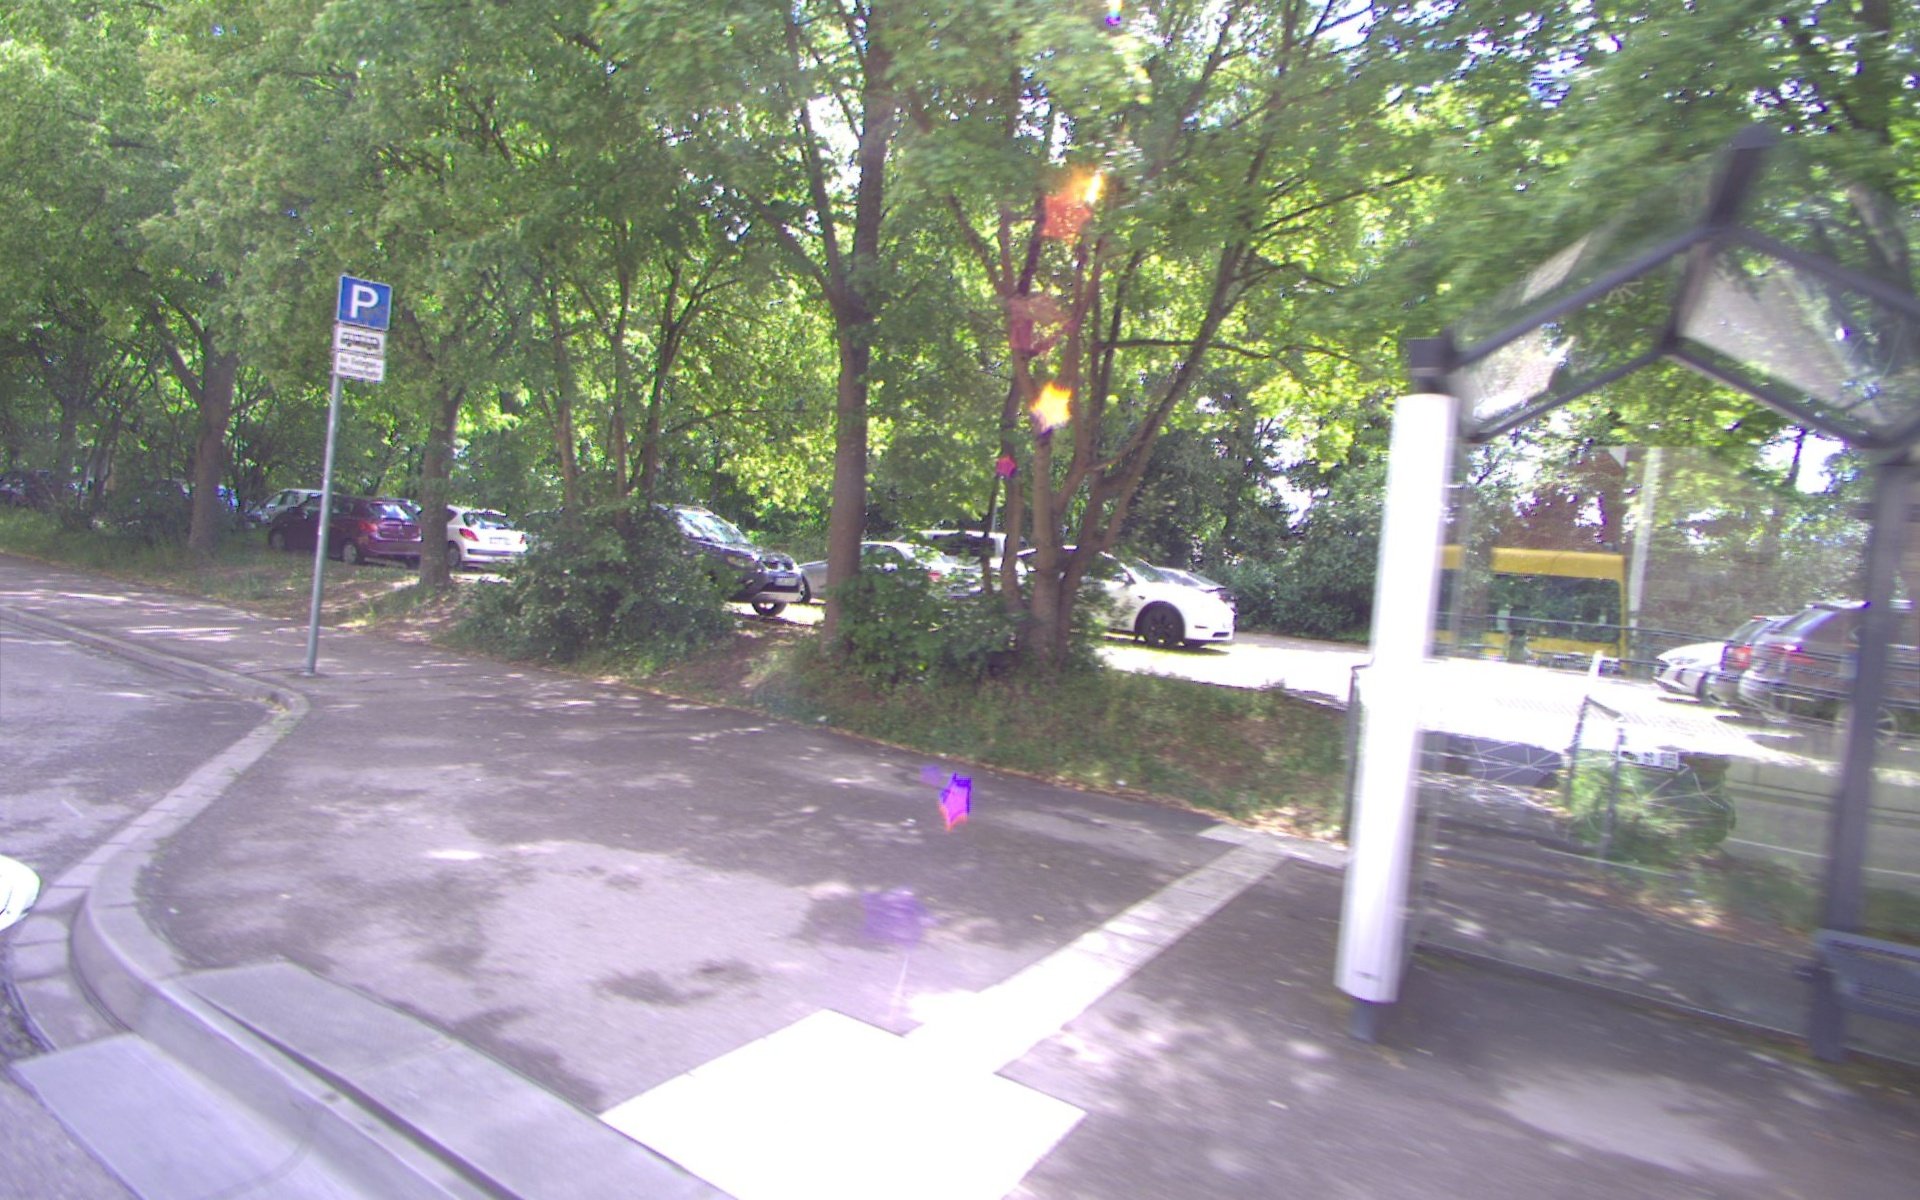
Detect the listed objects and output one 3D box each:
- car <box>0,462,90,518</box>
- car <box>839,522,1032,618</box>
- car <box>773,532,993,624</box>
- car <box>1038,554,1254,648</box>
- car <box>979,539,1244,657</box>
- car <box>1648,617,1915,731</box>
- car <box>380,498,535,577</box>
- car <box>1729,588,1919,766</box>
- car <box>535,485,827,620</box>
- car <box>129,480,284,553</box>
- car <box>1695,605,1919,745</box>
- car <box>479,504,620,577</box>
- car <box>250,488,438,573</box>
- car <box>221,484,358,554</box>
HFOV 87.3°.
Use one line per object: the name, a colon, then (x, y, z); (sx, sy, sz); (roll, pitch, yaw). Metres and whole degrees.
car: (-29.563, -3.533, 32.020); (4.092, 1.528, 1.714); (6, 3, 33)
car: (-0.604, -0.703, 23.194); (4.138, 1.815, 1.612); (7, 4, 32)
car: (-1.625, -0.472, 20.570); (4.280, 1.462, 1.613); (7, 3, 32)
car: (3.792, 0.003, 20.740); (3.936, 1.472, 1.682); (7, 1, 34)
car: (2.615, -0.096, 17.960); (4.360, 1.577, 1.468); (8, 4, 34)
car: (12.133, 1.038, 15.083); (2.812, 1.321, 1.407); (5, 3, 30)
car: (-12.006, -1.496, 23.979); (3.562, 1.529, 1.691); (7, 3, 33)
car: (10.867, 0.880, 10.511); (4.191, 1.717, 1.687); (5, 3, 31)
car: (-4.666, -0.815, 16.568); (4.646, 1.682, 1.849); (7, 0, 32)
car: (-19.320, -2.154, 25.750); (3.923, 1.483, 1.798); (6, 2, 31)
car: (11.732, 0.958, 12.664); (3.731, 1.513, 1.687); (5, 3, 30)
car: (-11.000, -1.596, 26.901); (3.562, 1.636, 1.691); (7, 3, 33)
car: (-13.459, -1.523, 21.976); (3.750, 1.432, 1.611); (7, 2, 24)
car: (-18.742, -2.264, 28.079); (3.923, 1.587, 1.635); (6, 2, 31)
